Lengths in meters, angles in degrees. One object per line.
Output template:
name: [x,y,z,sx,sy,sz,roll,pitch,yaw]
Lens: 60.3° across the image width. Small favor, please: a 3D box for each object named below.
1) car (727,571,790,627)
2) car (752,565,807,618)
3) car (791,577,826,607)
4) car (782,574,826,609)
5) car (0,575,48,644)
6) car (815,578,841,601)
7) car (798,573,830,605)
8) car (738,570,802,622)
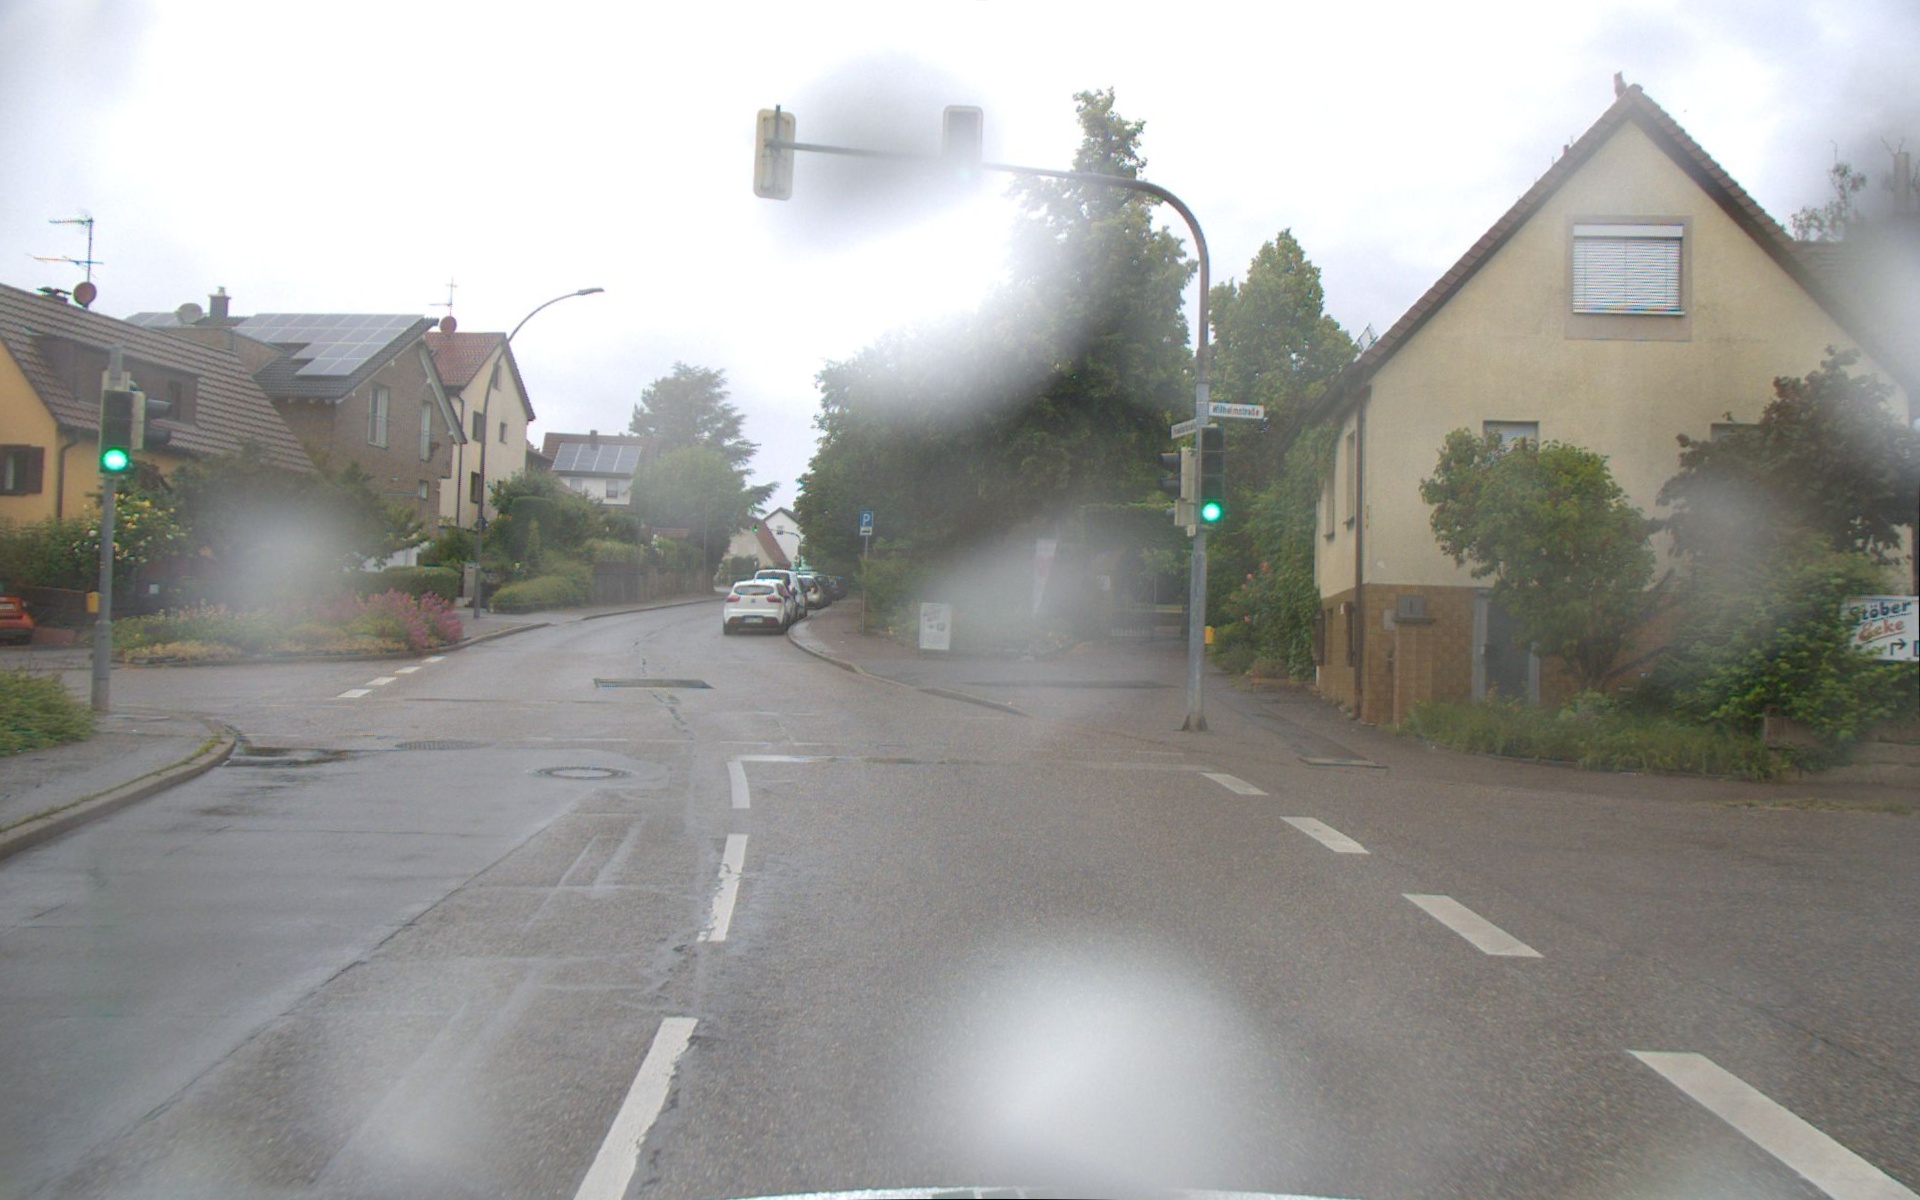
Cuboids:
car: [-5.736,-0.053,47.411,1.580,1.506,4.034,2,0,-5]
car: [-6.319,-0.314,58.307,1.604,1.771,4.134,1,0,-2]
car: [-7.865,-0.403,86.192,1.730,1.472,4.692,1,0,-5]
car: [-7.521,-0.401,80.068,1.778,1.601,3.879,1,0,-1]
car: [-21.596,0.155,34.809,3.902,1.407,1.865,1,1,11]
car: [-8.501,-0.674,106.345,1.619,1.395,4.177,1,1,-5]
car: [-8.168,-0.598,92.607,1.708,1.697,4.493,1,0,-5]
car: [-5.952,-0.154,52.228,1.612,1.487,4.000,2,2,-2]
